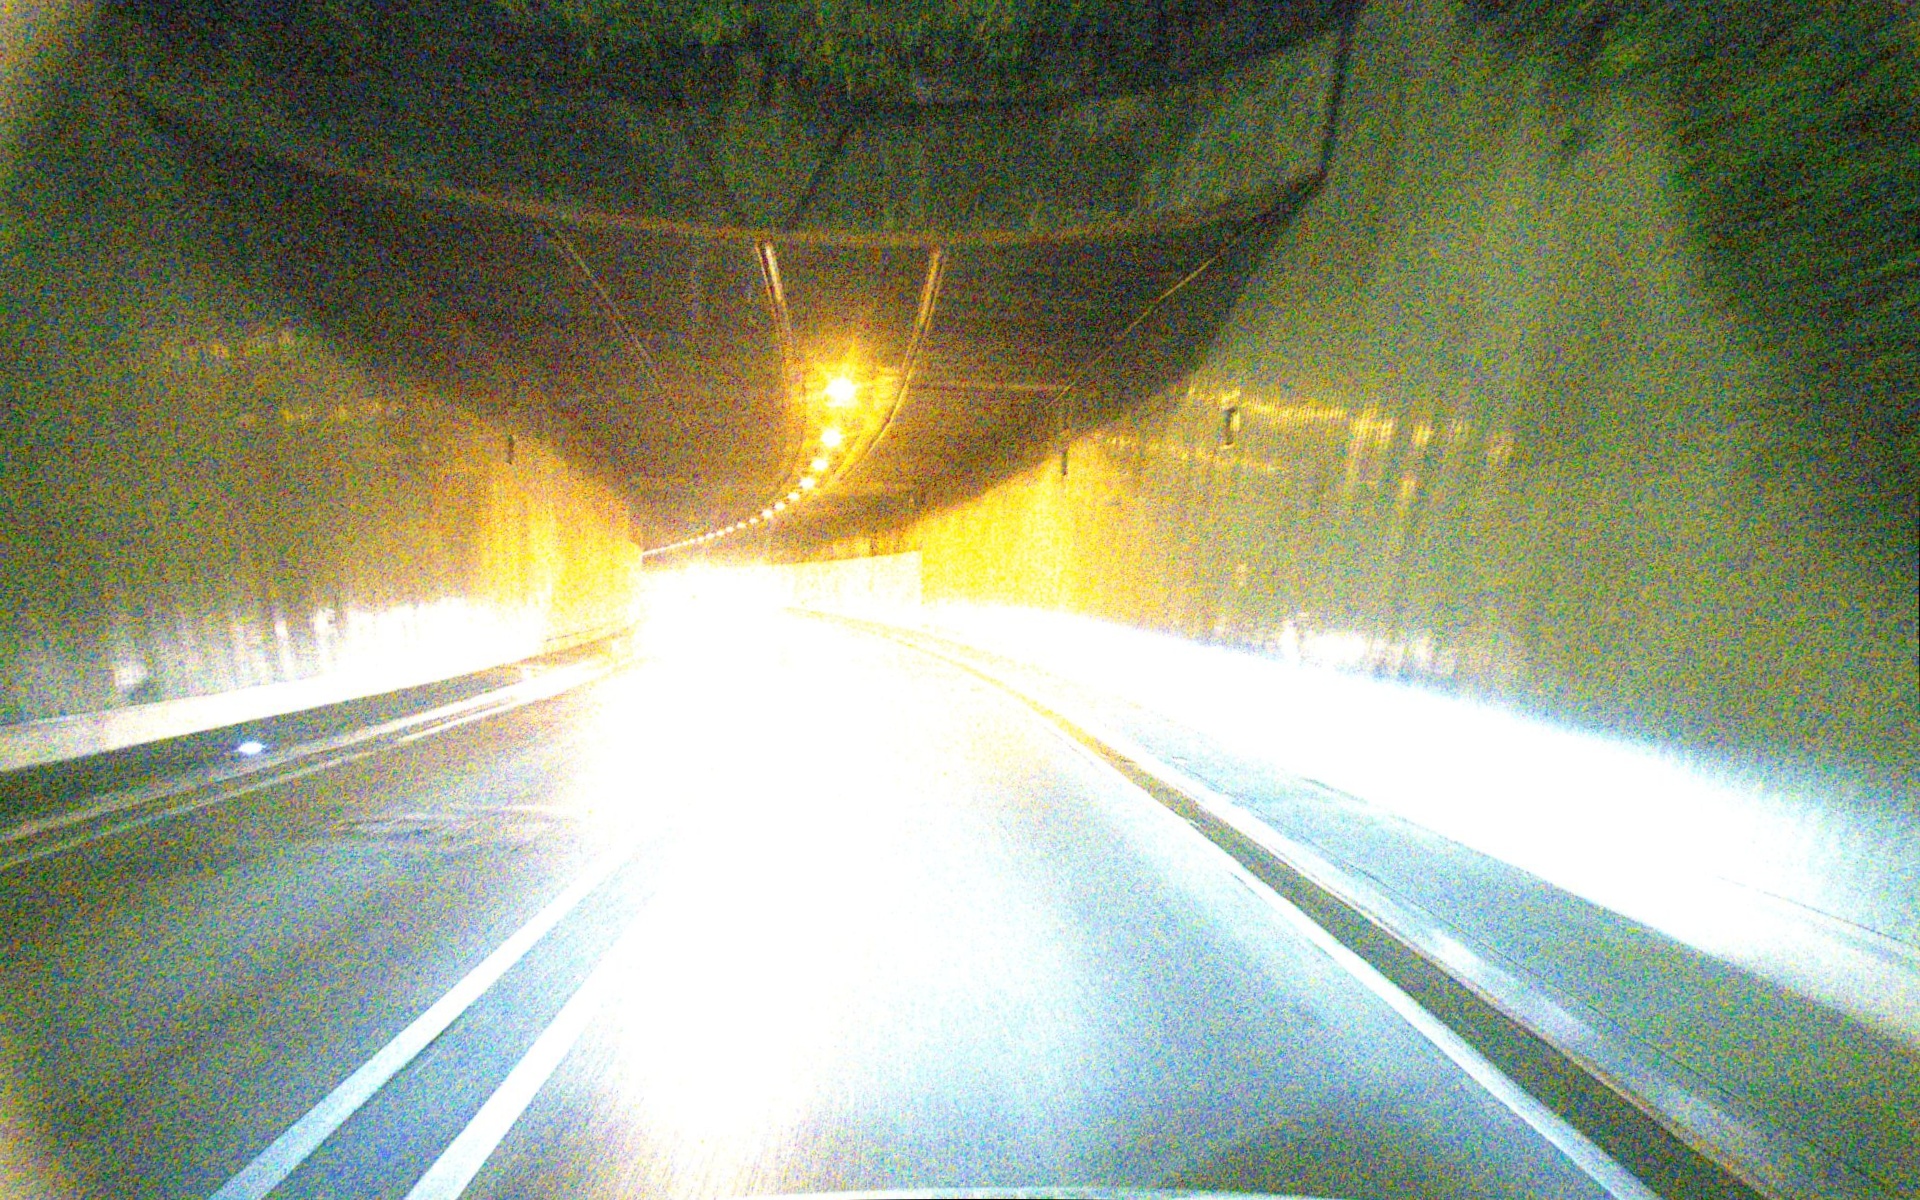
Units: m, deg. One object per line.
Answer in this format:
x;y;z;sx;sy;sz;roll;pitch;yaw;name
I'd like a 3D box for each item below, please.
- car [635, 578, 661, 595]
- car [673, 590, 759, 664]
-37.537;-1.640;198.989;1.944;1.973;4.571;1;0;-27;car
-5.268;0.549;36.095;1.683;1.468;4.387;1;0;-7;car
